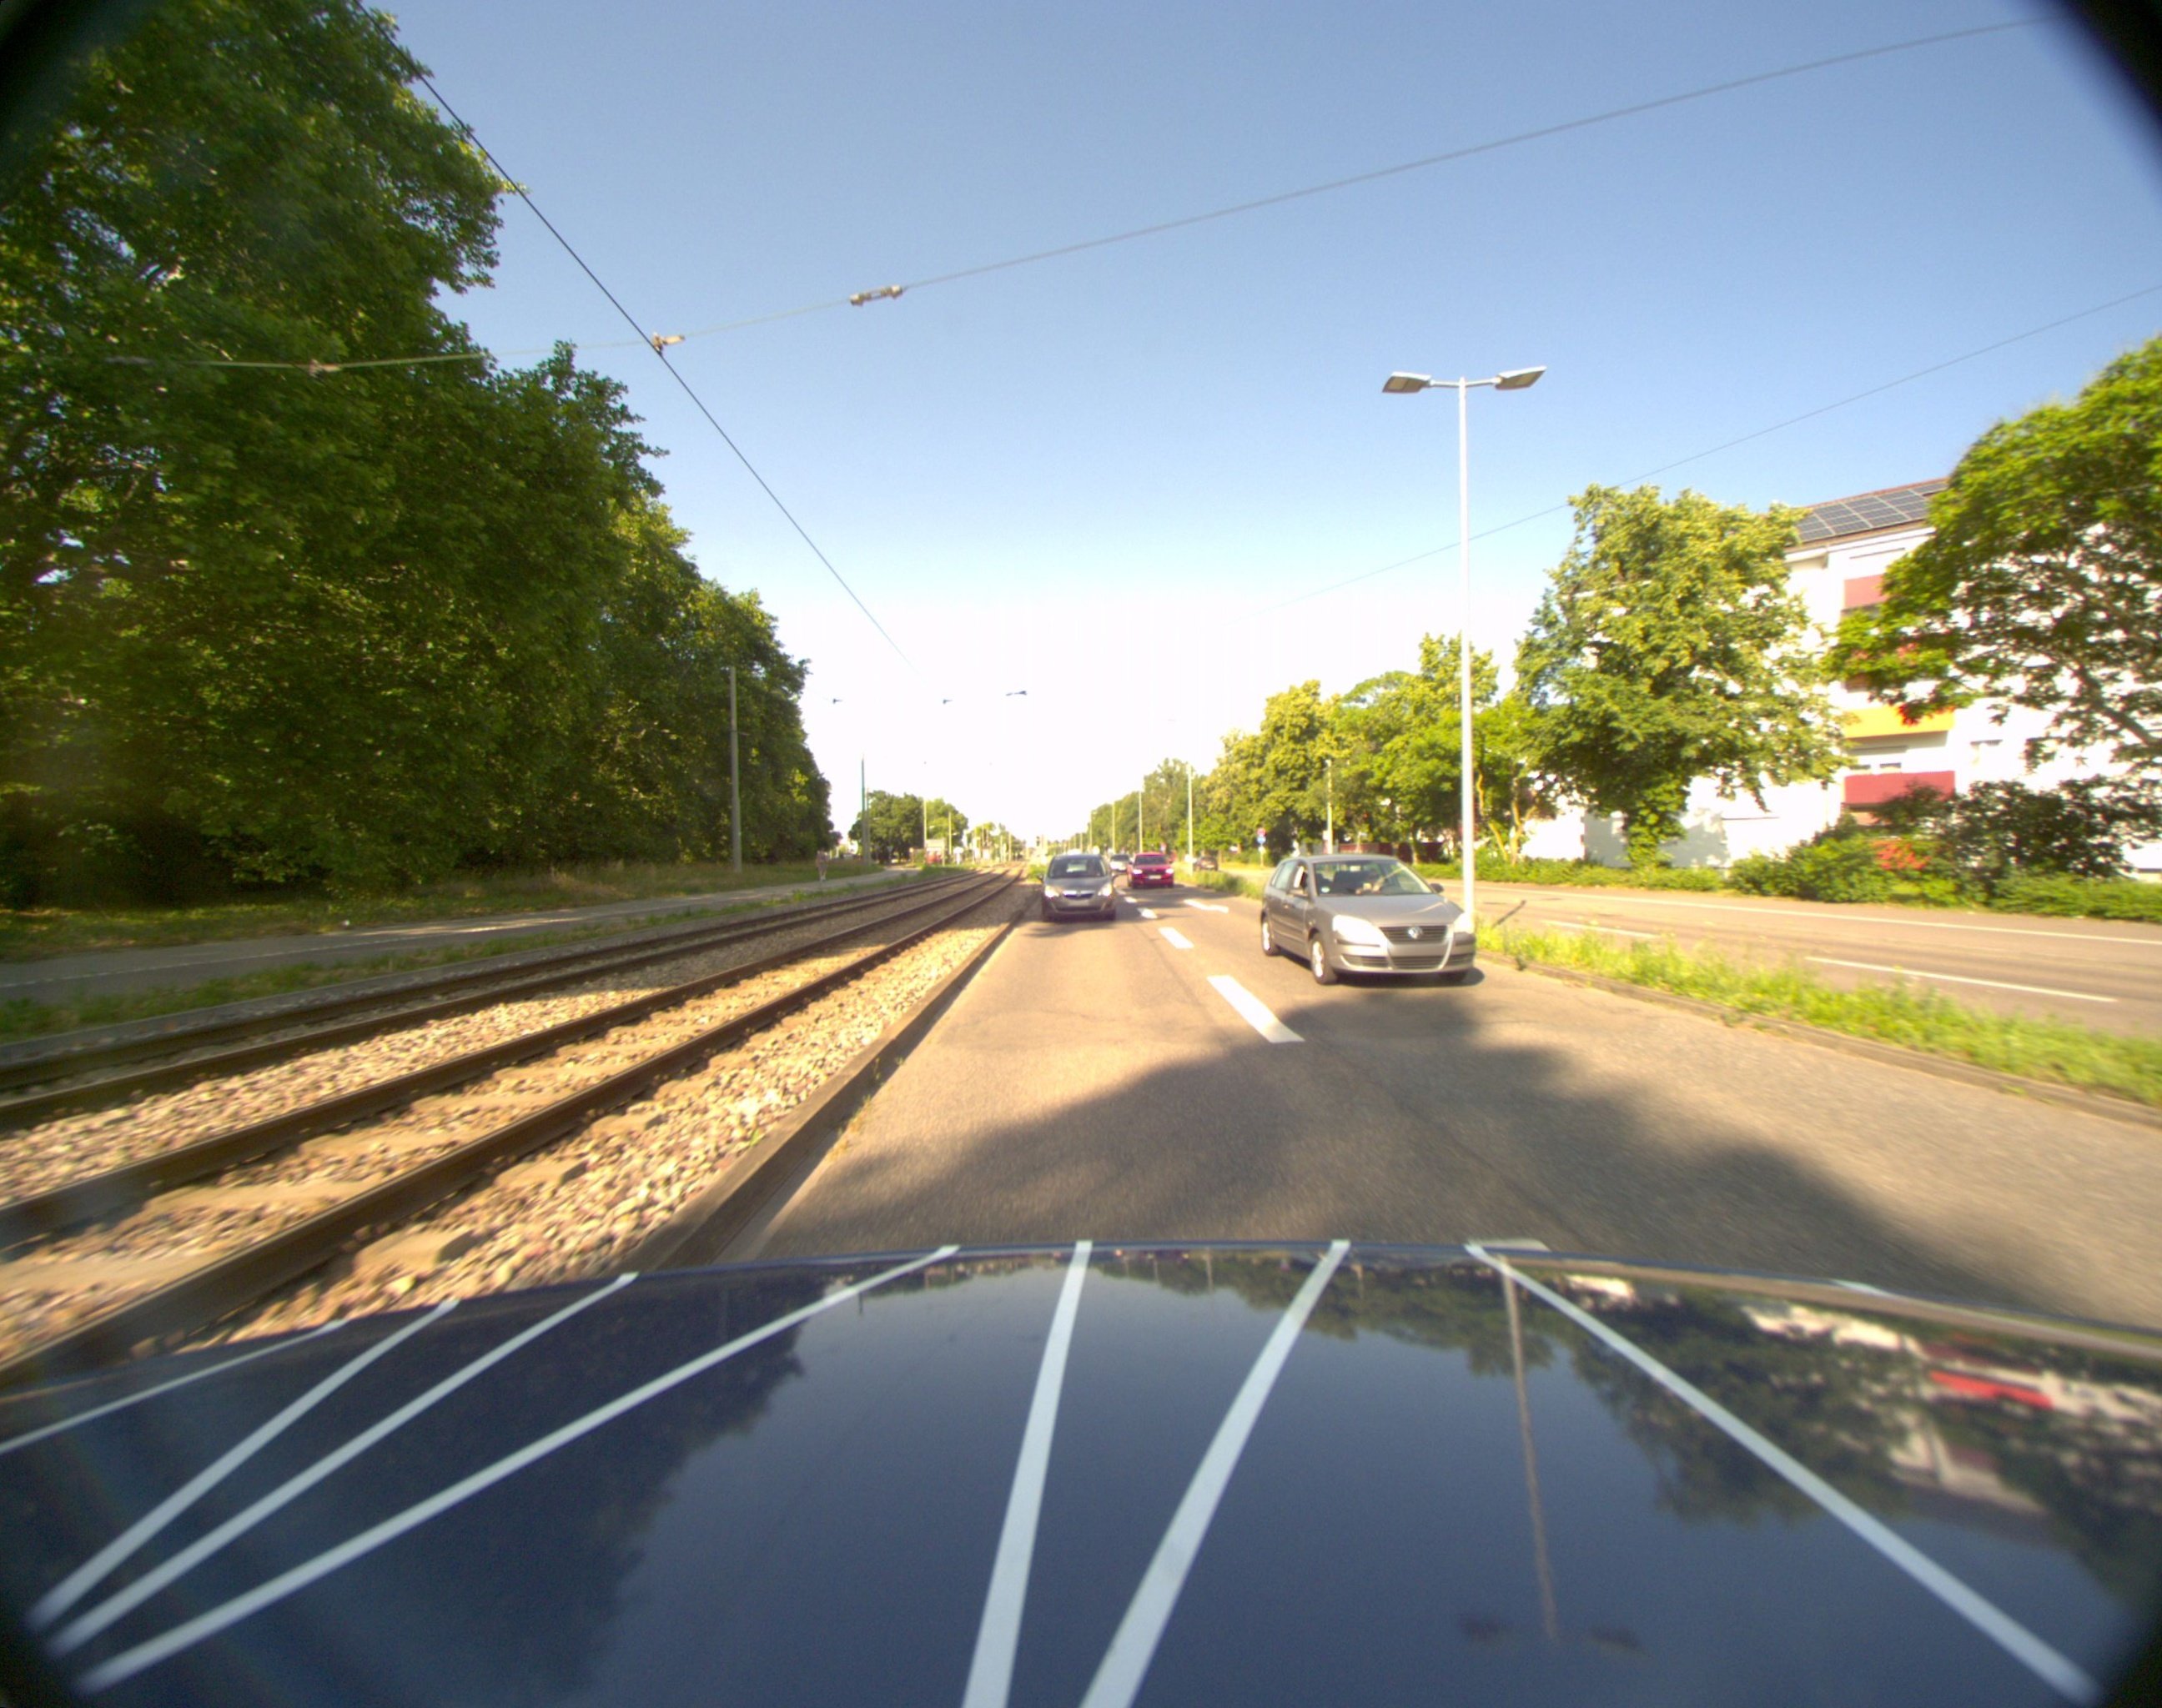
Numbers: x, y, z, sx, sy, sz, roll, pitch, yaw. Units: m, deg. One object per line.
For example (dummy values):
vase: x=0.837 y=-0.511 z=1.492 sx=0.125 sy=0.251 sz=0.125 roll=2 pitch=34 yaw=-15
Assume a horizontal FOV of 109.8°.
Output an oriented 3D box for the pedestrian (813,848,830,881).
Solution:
pedestrian: x=-13.439 y=0.528 z=39.384 sx=0.501 sy=1.706 sz=0.885 roll=0 pitch=1 yaw=5

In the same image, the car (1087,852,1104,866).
car: x=1.757 y=0.556 z=93.795 sx=1.774 sy=1.669 sz=4.048 roll=0 pitch=0 yaw=-2

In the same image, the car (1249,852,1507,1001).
car: x=3.396 y=0.720 z=9.519 sx=1.692 sy=1.420 sz=3.832 roll=-2 pitch=0 yaw=0

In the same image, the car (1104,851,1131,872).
car: x=2.806 y=0.538 z=58.617 sx=1.710 sy=1.513 sz=3.832 roll=-2 pitch=0 yaw=-2

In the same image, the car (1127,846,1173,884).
car: x=3.077 y=0.480 z=34.541 sx=1.692 sy=1.573 sz=3.832 roll=-2 pitch=0 yaw=0

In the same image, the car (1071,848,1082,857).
car: x=-0.787 y=-0.242 z=130.949 sx=1.710 sy=1.513 sz=3.832 roll=-2 pitch=0 yaw=-2

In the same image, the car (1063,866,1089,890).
car: x=-0.358 y=1.651 z=54.087 sx=1.710 sy=1.513 sz=3.832 roll=-2 pitch=0 yaw=0

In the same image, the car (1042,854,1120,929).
car: x=-0.029 y=0.827 z=18.710 sx=1.650 sy=1.581 sz=3.832 roll=-3 pitch=0 yaw=-1

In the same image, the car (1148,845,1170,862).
car: x=8.263 y=-0.065 z=80.876 sx=1.795 sy=1.774 sz=4.480 roll=-1 pitch=0 yaw=-1

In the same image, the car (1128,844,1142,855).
car: x=8.905 y=-0.708 z=125.047 sx=1.774 sy=1.669 sz=4.048 roll=-1 pitch=0 yaw=-2

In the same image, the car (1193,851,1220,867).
car: x=11.250 y=0.417 z=68.490 sx=1.728 sy=1.411 sz=4.325 roll=0 pitch=0 yaw=0
